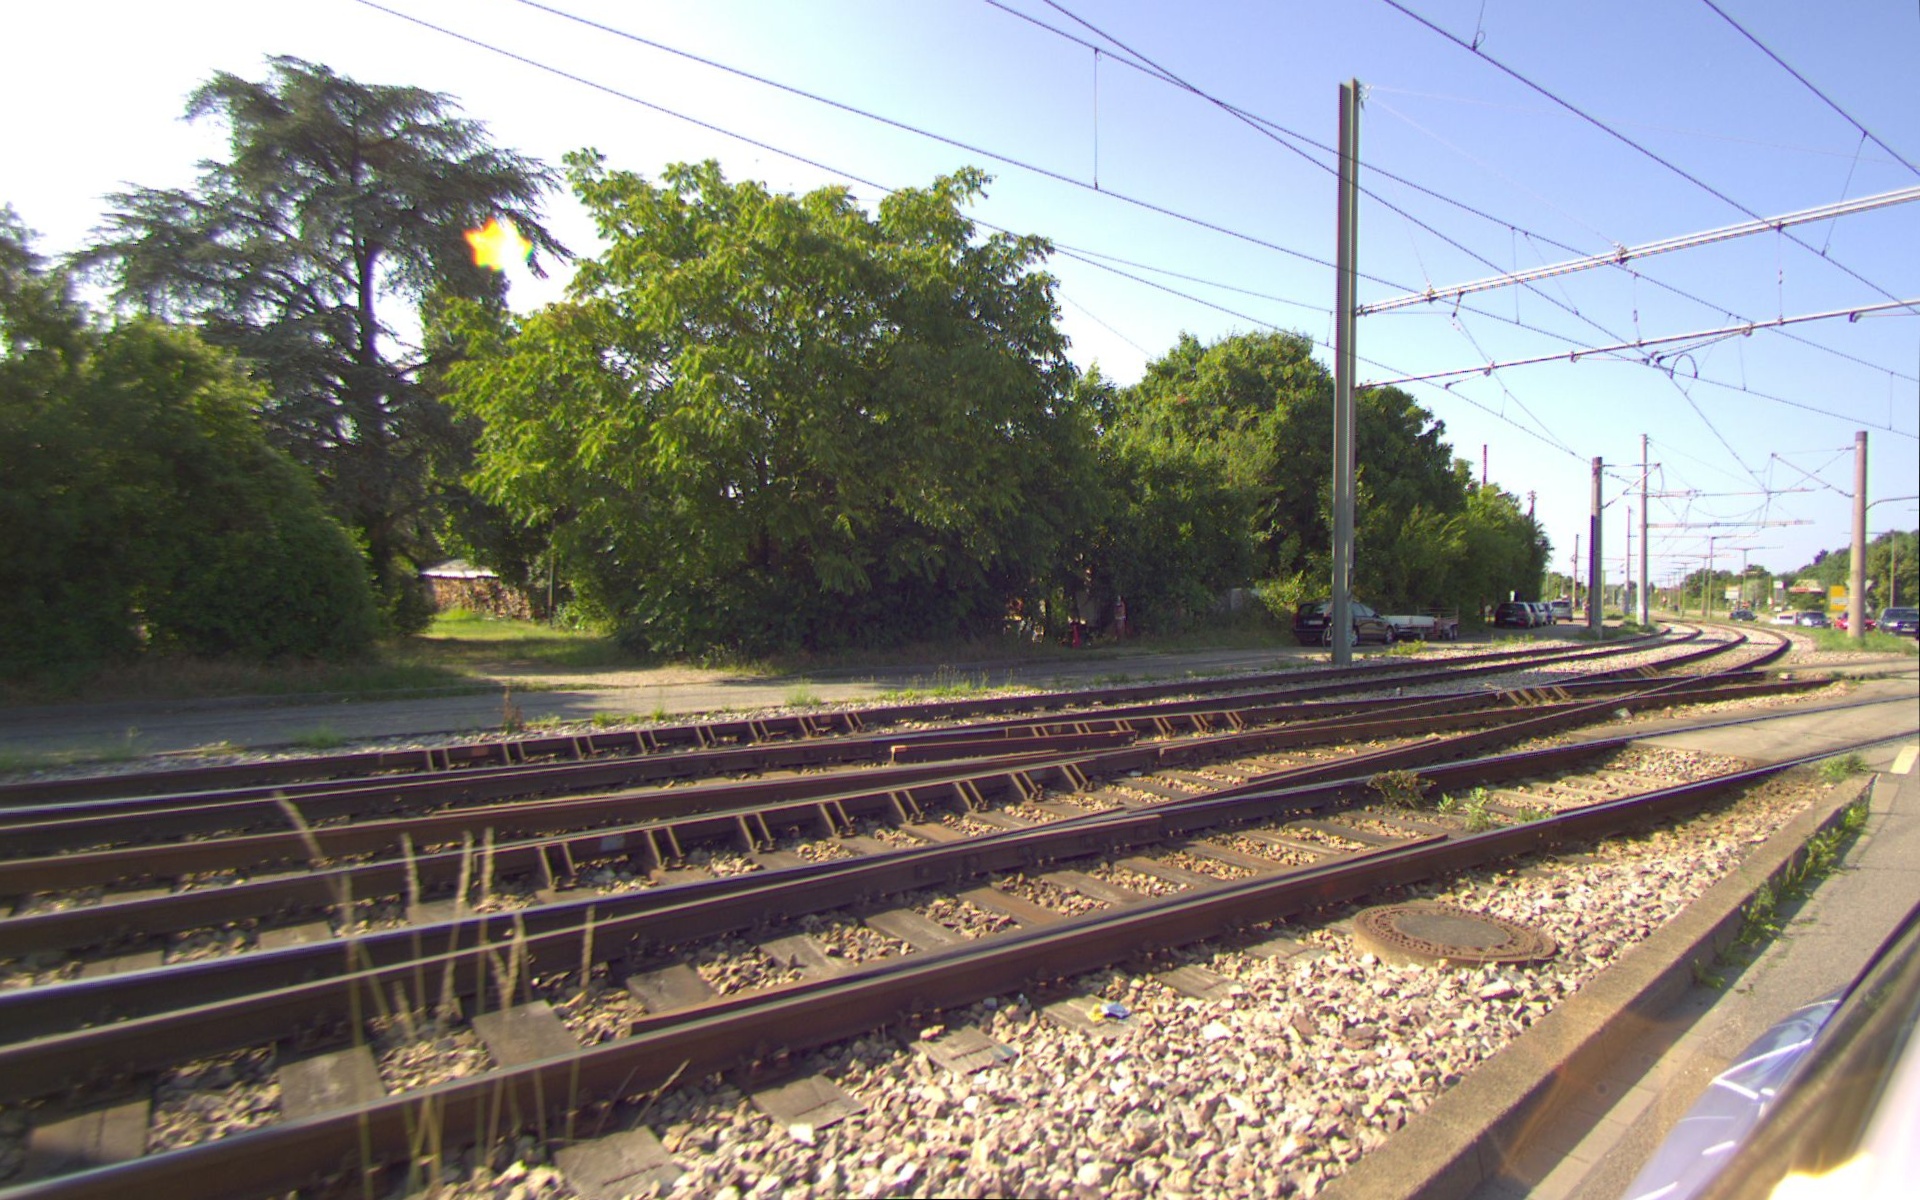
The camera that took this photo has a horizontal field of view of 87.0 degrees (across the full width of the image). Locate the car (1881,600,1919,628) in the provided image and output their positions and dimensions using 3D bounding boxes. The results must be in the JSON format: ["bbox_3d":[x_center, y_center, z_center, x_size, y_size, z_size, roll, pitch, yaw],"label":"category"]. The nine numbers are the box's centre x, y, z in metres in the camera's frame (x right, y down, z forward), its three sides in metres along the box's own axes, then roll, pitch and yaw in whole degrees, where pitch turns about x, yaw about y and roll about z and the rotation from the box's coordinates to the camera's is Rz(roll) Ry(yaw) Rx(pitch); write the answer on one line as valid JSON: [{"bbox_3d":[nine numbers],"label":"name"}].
[{"bbox_3d":[47.643,0.680,50.703,1.838,1.373,4.098,-1,-1,37],"label":"car"}]

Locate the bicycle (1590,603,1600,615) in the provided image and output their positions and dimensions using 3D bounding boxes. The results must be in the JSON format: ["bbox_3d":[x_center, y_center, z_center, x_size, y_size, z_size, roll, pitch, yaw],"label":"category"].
[{"bbox_3d":[51.276,0.731,81.769,0.639,0.921,1.794,0,0,30],"label":"bicycle"}]

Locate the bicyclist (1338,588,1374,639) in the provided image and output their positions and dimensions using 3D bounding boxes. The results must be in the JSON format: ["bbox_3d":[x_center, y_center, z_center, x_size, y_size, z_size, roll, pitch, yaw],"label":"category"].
[{"bbox_3d":[11.453,0.383,29.267,0.629,1.440,0.947,0,-1,45],"label":"bicyclist"}]

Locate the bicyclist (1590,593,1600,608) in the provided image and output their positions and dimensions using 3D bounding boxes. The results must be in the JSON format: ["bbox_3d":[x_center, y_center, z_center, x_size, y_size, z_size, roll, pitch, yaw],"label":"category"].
[{"bbox_3d":[51.278,0.053,81.764,0.636,1.249,0.782,0,-1,31],"label":"bicyclist"}]

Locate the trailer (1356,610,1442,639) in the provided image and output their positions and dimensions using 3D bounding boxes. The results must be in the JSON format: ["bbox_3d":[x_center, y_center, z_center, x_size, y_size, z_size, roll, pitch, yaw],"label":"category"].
[{"bbox_3d":[16.061,0.877,36.959,1.731,0.951,3.669,-3,-2,43],"label":"trailer"}]

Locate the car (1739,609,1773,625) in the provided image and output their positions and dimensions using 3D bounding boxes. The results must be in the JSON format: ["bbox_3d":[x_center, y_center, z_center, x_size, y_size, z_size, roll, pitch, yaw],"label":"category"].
[{"bbox_3d":[78.074,1.645,99.289,1.820,1.532,4.113,-1,-1,27],"label":"car"}]

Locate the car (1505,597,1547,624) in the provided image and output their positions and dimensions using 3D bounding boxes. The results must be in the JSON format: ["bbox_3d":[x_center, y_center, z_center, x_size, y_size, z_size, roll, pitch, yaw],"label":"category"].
[{"bbox_3d":[31.522,0.582,56.332,1.617,1.428,4.464,-1,0,35],"label":"car"}]

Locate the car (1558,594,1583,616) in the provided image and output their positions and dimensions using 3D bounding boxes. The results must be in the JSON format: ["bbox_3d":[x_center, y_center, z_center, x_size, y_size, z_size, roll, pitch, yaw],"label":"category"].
[{"bbox_3d":[47.470,0.392,78.704,1.514,1.630,4.436,2,1,30],"label":"car"}]

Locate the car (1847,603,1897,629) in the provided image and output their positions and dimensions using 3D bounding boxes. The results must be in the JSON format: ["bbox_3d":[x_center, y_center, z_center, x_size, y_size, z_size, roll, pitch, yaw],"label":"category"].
[{"bbox_3d":[58.840,1.004,65.332,1.836,1.616,3.692,-1,-1,34],"label":"car"}]

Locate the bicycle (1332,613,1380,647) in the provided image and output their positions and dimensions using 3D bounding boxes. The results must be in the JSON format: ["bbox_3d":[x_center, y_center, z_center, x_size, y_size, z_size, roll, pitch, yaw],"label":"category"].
[{"bbox_3d":[11.473,0.854,29.287,0.643,0.921,1.814,0,0,45],"label":"bicycle"}]

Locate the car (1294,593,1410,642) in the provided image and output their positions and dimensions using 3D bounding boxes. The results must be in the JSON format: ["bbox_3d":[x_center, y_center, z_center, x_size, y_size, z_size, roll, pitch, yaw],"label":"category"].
[{"bbox_3d":[12.956,0.577,33.263,4.799,1.475,1.699,1,-2,-44],"label":"car"}]

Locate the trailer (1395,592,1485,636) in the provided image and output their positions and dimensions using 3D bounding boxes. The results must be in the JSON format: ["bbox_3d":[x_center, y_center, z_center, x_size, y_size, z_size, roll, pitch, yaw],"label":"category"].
[{"bbox_3d":[18.899,0.537,39.756,2.025,1.617,4.193,-2,-2,43],"label":"trailer"}]

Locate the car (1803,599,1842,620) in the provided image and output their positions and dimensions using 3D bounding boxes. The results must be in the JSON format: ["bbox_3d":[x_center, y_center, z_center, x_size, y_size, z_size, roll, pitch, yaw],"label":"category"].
[{"bbox_3d":[65.442,0.750,76.854,1.596,1.532,4.219,-1,-1,32],"label":"car"}]

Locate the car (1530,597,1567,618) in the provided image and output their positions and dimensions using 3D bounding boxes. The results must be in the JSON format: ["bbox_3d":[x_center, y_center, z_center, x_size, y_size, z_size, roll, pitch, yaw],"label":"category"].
[{"bbox_3d":[40.314,0.531,69.287,1.675,1.448,3.856,-1,-1,39],"label":"car"}]

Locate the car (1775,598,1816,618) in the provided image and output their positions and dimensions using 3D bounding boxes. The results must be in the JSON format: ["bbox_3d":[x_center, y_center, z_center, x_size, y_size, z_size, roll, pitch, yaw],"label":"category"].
[{"bbox_3d":[70.636,0.649,85.611,1.953,1.639,4.262,1,1,30],"label":"car"}]
